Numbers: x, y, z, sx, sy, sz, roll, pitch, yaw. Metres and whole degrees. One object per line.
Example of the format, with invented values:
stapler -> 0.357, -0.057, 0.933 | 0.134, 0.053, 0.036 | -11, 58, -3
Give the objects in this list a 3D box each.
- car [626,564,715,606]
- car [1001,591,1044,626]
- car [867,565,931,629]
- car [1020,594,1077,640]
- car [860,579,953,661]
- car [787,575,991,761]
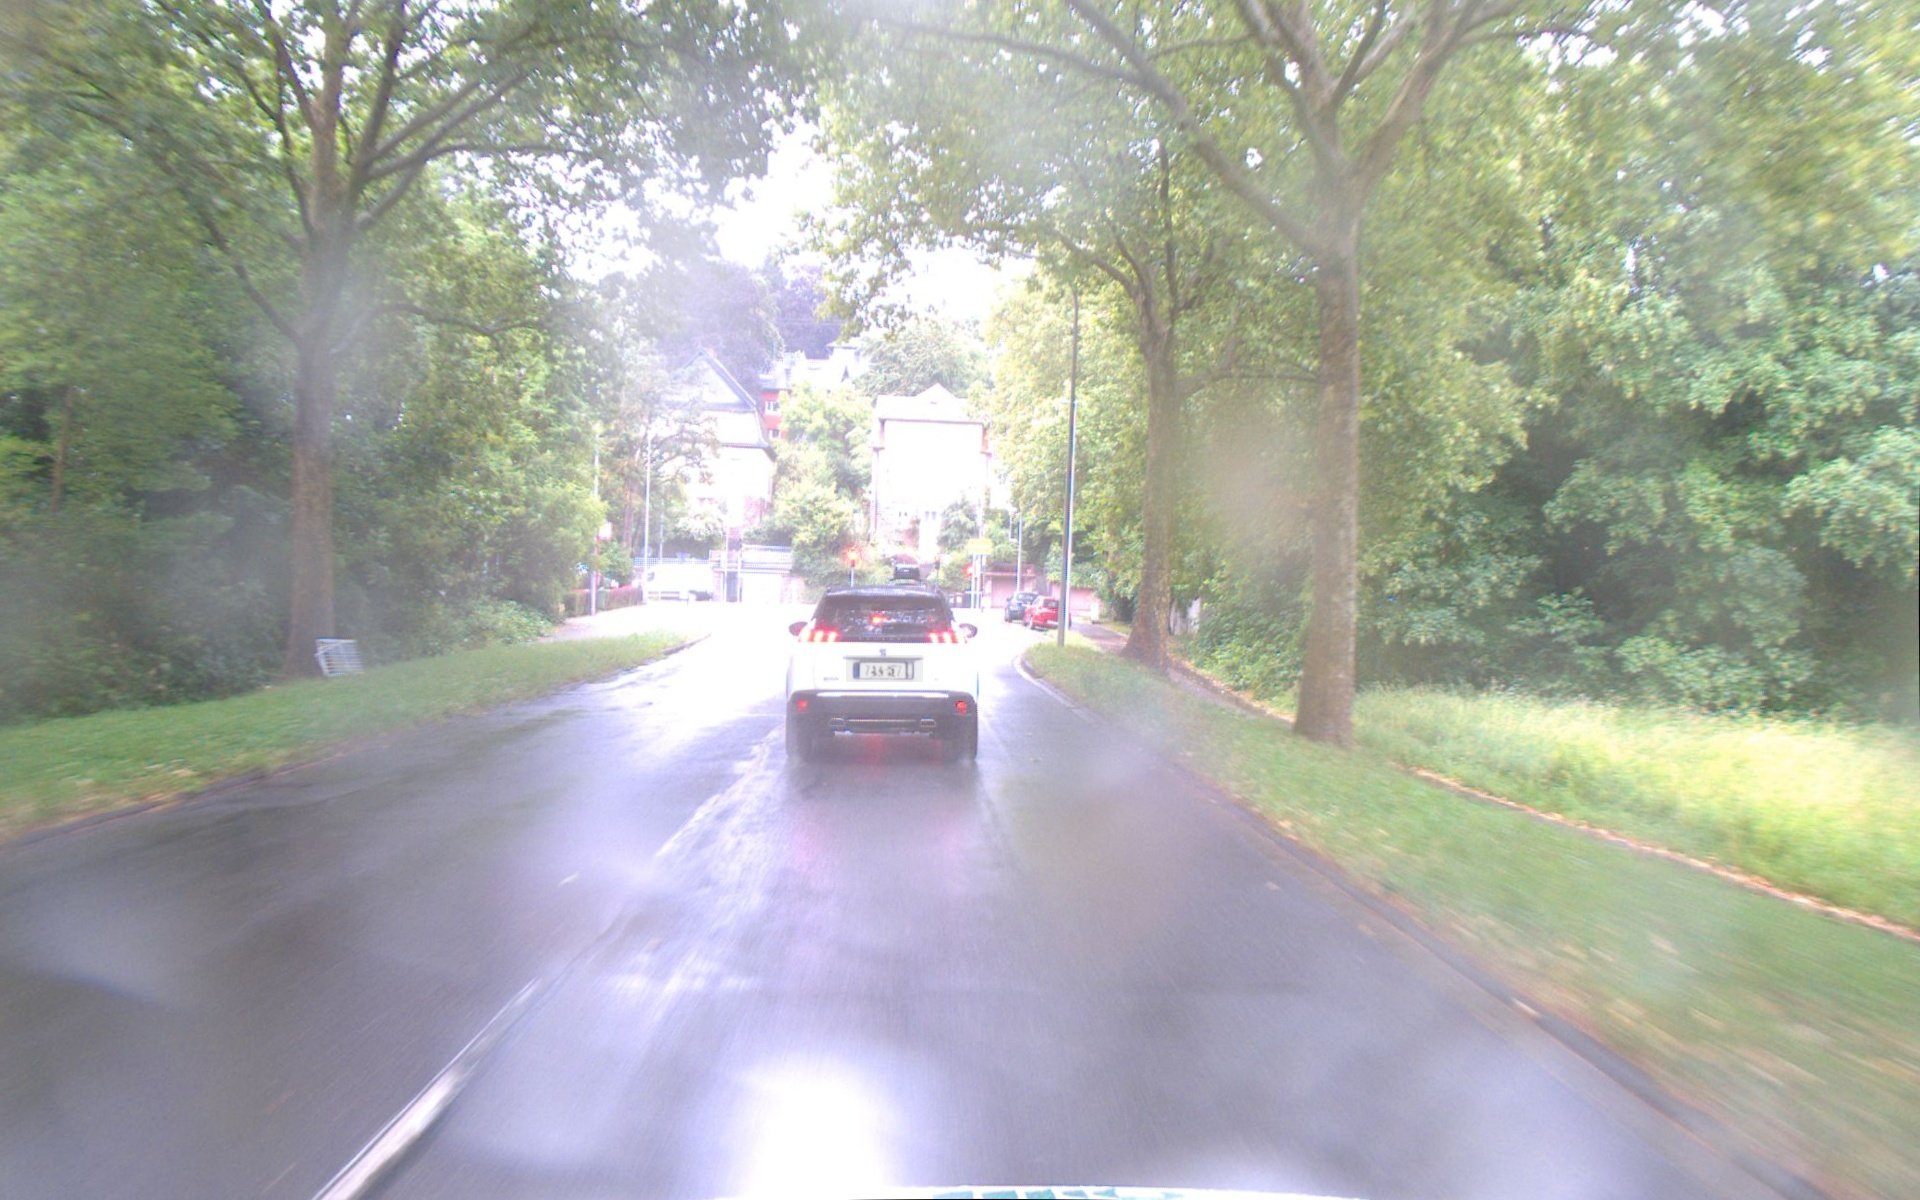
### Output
car -> -19.703, -0.977, 112.732 | 5.546, 2.538, 2.315 | 3, -1, -1
car -> 3.028, 0.397, 81.031 | 1.715, 1.517, 3.598 | 5, 0, -2
car -> -1.909, -0.129, 50.276 | 1.726, 1.740, 4.598 | 3, 1, -4
car -> 3.789, 0.714, 71.368 | 1.786, 1.542, 3.740 | 9, 1, -5
car -> -1.154, 0.377, 36.058 | 1.795, 1.481, 4.657 | 4, 1, -2
car -> -0.690, 0.569, 16.282 | 1.717, 1.562, 4.365 | 1, 0, -2
